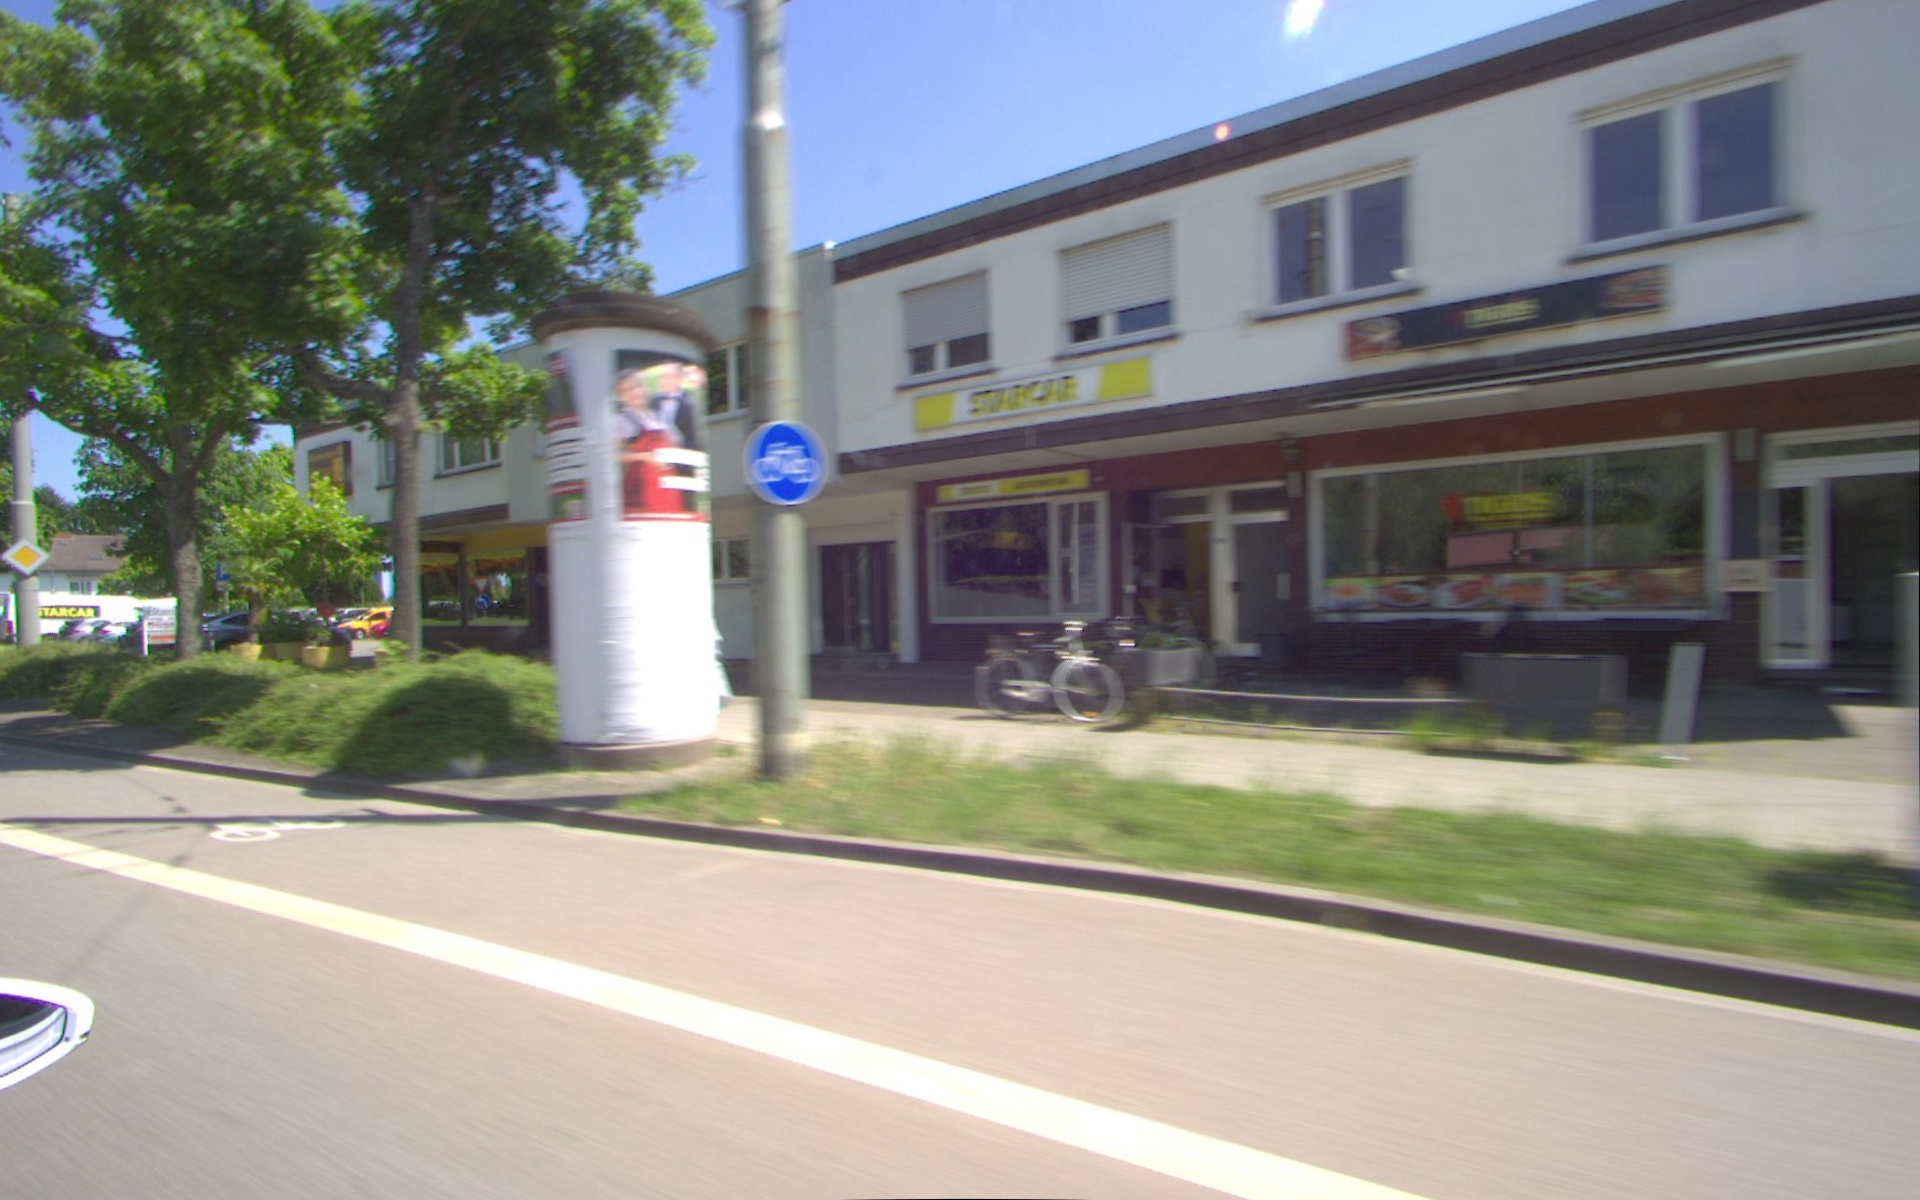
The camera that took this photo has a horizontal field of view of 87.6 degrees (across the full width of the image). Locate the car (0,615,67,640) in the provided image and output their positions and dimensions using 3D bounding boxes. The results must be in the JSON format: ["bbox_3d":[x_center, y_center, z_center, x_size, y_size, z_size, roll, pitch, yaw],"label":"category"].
[{"bbox_3d":[-55.438,1.616,59.028,1.704,1.424,3.878,-1,-2,34],"label":"car"}]

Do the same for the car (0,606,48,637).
[{"bbox_3d":[-59.672,1.324,61.981,1.926,1.933,4.399,-1,-2,32],"label":"car"}]

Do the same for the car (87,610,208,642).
[{"bbox_3d":[-36.215,1.191,44.722,1.705,1.342,3.876,-1,-2,35],"label":"car"}]

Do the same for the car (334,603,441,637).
[{"bbox_3d":[-34.369,1.171,60.235,2.068,1.776,5.133,-1,1,37],"label":"car"}]

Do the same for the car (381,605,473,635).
[{"bbox_3d":[-30.222,1.103,56.918,1.612,1.456,4.293,-1,2,37],"label":"car"}]

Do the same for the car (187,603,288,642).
[{"bbox_3d":[-51.903,1.569,72.067,2.068,2.493,5.468,-1,2,37],"label":"car"}]

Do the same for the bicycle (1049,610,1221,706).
[{"bbox_3d":[2.089,0.671,12.093,1.993,1.082,0.541,-1,1,33],"label":"bicycle"}]

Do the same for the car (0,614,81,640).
[{"bbox_3d":[-53.252,1.553,57.238,1.704,1.424,4.267,-1,-2,34],"label":"car"}]

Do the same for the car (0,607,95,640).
[{"bbox_3d":[-50.858,1.340,55.709,1.926,1.807,3.773,-1,-2,32],"label":"car"}]

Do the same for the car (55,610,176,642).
[{"bbox_3d":[-38.495,1.198,45.714,1.702,1.397,3.882,-1,-2,30],"label":"car"}]

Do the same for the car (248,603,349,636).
[{"bbox_3d":[-43.197,1.236,65.477,2.068,1.901,5.076,-1,2,37],"label":"car"}]

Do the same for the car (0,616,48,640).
[{"bbox_3d":[-57.535,1.665,60.041,1.703,1.424,3.880,-1,-2,32],"label":"car"}]

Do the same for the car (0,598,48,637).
[{"bbox_3d":[-61.999,1.102,63.807,2.068,2.490,5.473,-1,-2,37],"label":"car"}]

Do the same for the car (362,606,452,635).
[{"bbox_3d":[-32.299,1.182,58.568,1.612,1.456,4.293,-1,2,37],"label":"car"}]

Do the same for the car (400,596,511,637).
[{"bbox_3d":[-26.776,0.838,53.283,1.884,1.926,4.899,-1,2,36],"label":"car"}]

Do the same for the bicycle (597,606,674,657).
[{"bbox_3d":[-7.214,0.686,22.209,1.874,1.082,0.541,-1,1,33],"label":"bicycle"}]

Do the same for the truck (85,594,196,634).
[{"bbox_3d":[-70.486,1.172,86.249,2.392,3.127,6.922,-1,2,35],"label":"truck"}]

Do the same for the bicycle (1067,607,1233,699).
[{"bbox_3d":[2.376,0.646,12.623,1.993,1.082,0.541,-1,1,33],"label":"bicycle"}]

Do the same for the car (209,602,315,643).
[{"bbox_3d":[-47.451,1.512,68.177,2.068,2.493,5.468,-1,2,37],"label":"car"}]

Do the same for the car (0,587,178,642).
[{"bbox_3d":[-42.705,0.793,49.278,2.236,2.561,6.316,-1,-2,39],"label":"car"}]

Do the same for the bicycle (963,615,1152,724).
[{"bbox_3d":[1.026,0.719,10.818,1.993,1.082,0.541,-1,1,33],"label":"bicycle"}]

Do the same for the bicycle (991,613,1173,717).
[{"bbox_3d":[1.354,0.704,11.302,1.993,1.082,0.541,-1,1,33],"label":"bicycle"}]

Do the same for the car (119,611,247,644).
[{"bbox_3d":[-32.139,1.149,41.487,1.705,1.297,3.876,-1,-2,35],"label":"car"}]

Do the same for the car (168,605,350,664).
[{"bbox_3d":[-21.226,0.984,30.493,1.917,1.632,4.129,-1,0,33],"label":"car"}]

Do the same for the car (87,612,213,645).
[{"bbox_3d":[-34.600,1.226,42.862,1.705,1.342,3.876,-1,-2,35],"label":"car"}]
